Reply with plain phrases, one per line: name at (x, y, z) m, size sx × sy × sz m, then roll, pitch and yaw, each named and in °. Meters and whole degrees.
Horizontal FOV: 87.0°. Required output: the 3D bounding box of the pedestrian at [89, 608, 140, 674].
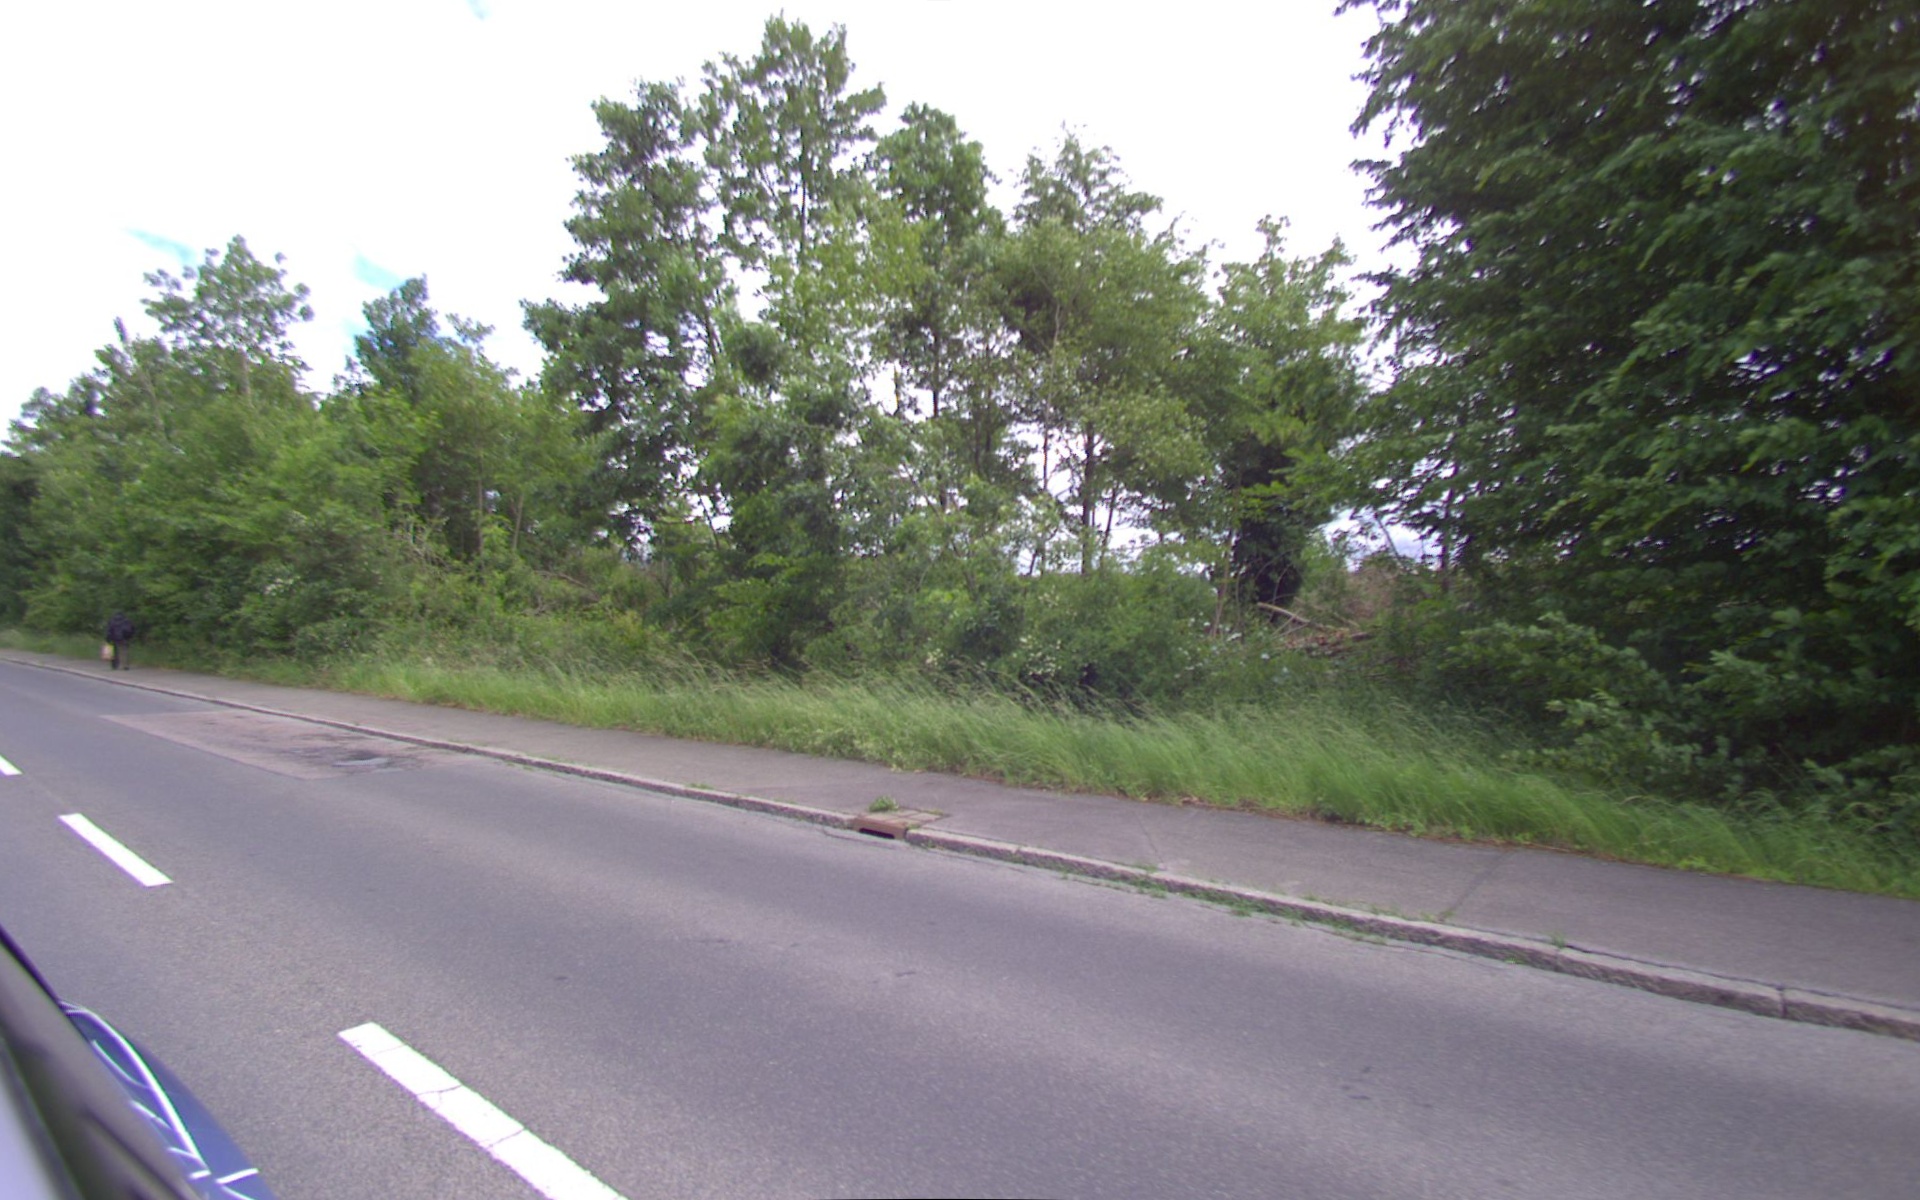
pedestrian at (-23.490, 1.142, 28.118) m, size 0.788 × 1.783 × 0.860 m, roll -2°, pitch -4°, yaw 36°
